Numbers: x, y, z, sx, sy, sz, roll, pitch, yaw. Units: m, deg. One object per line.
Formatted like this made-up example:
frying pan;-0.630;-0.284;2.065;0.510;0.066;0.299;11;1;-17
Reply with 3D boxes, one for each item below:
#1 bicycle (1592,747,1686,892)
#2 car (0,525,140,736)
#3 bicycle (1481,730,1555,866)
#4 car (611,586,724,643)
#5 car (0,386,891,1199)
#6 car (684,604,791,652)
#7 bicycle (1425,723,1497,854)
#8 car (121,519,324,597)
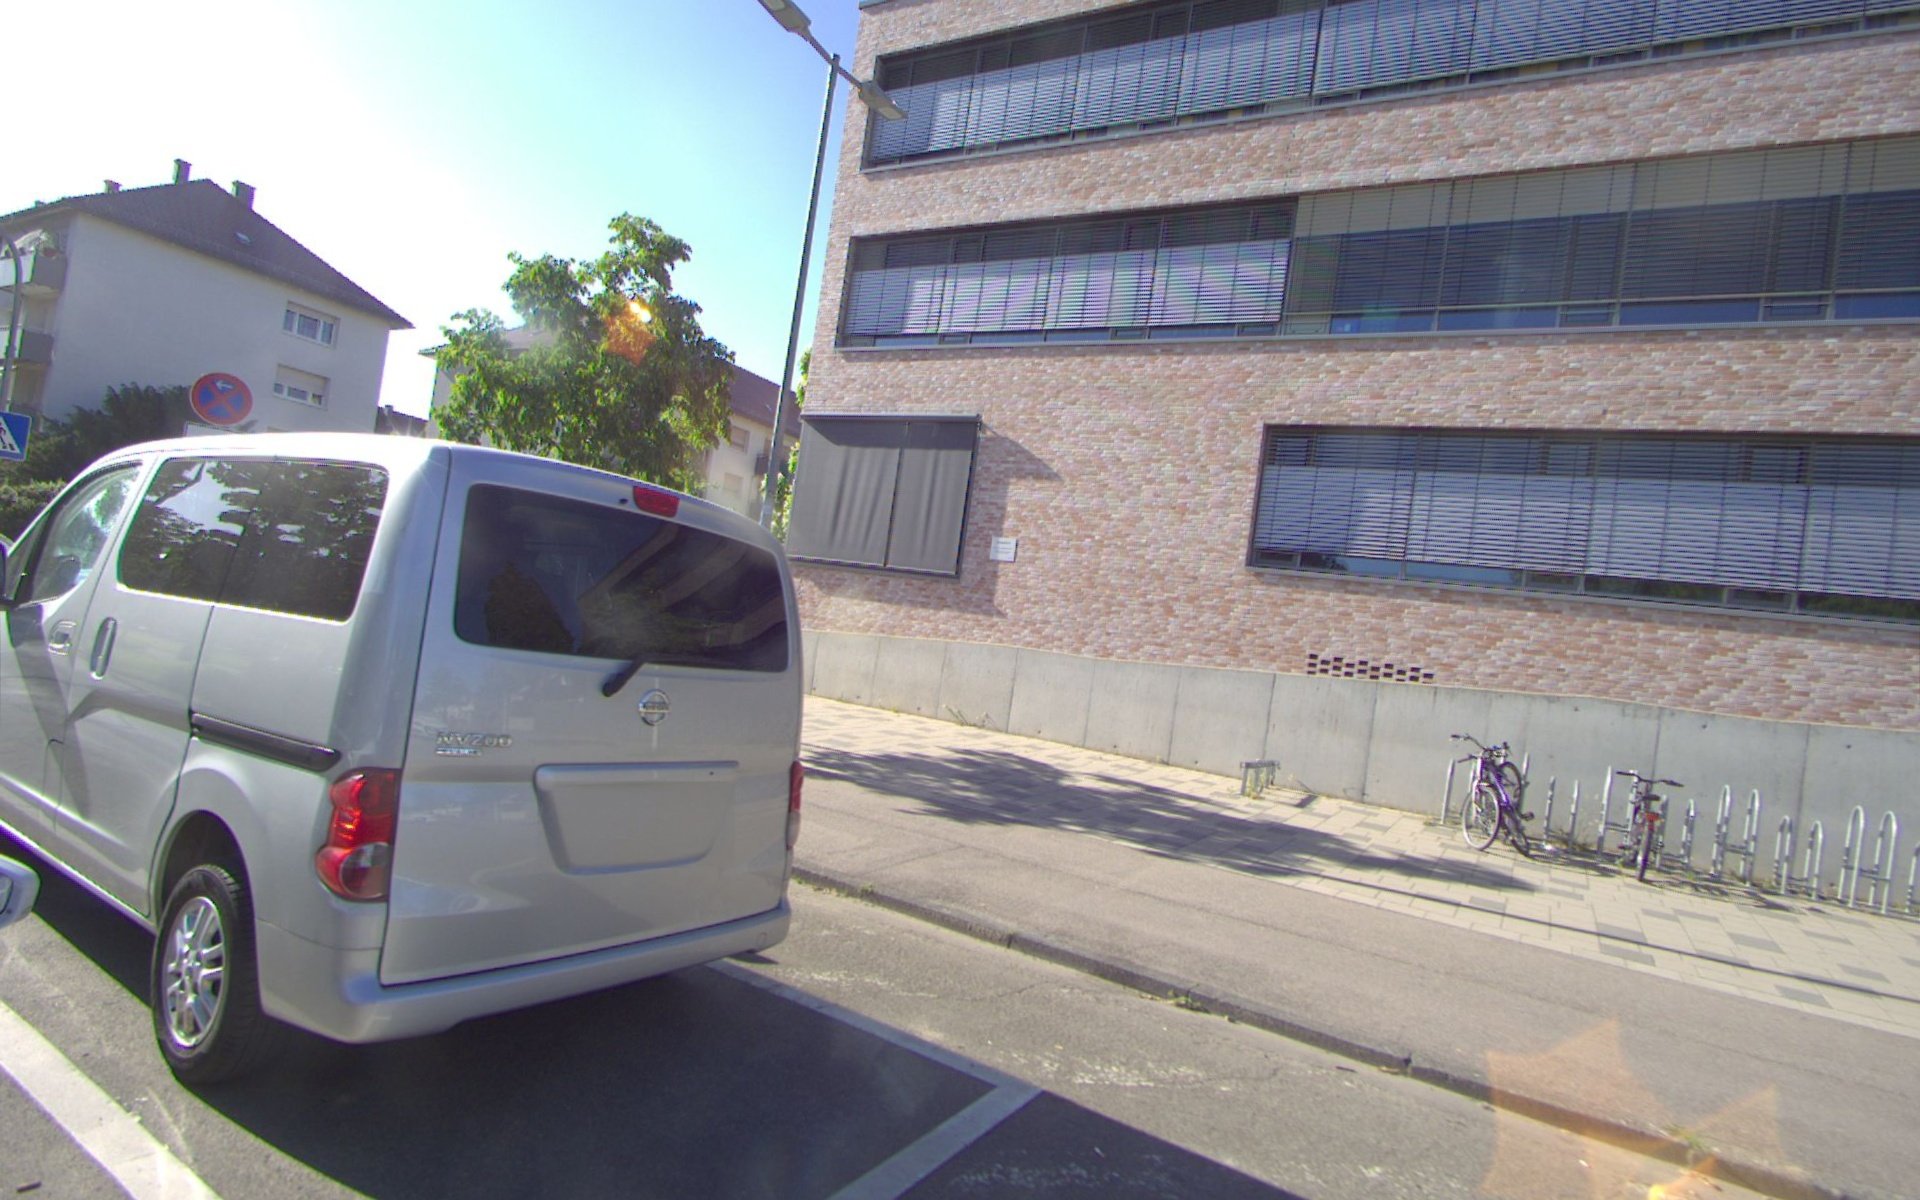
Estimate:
bicycle;6.648;2.098;9.910;0.491;1.121;1.797;7;0;29
car;-7.983;-0.017;7.327;4.099;1.333;1.769;6;-4;32
bicycle;5.726;1.979;10.343;0.491;1.121;1.797;7;0;29
car;-12.229;0.653;42.357;1.769;1.842;4.493;5;-4;29
car;-2.665;0.336;4.214;4.342;1.875;1.798;7;-3;34
car;-9.328;1.228;42.570;1.769;1.527;4.493;5;-4;29
bicycle;5.304;1.929;10.599;0.491;1.121;1.797;7;0;29
car;-22.125;-1.214;30.392;1.769;1.640;4.493;5;-4;29
